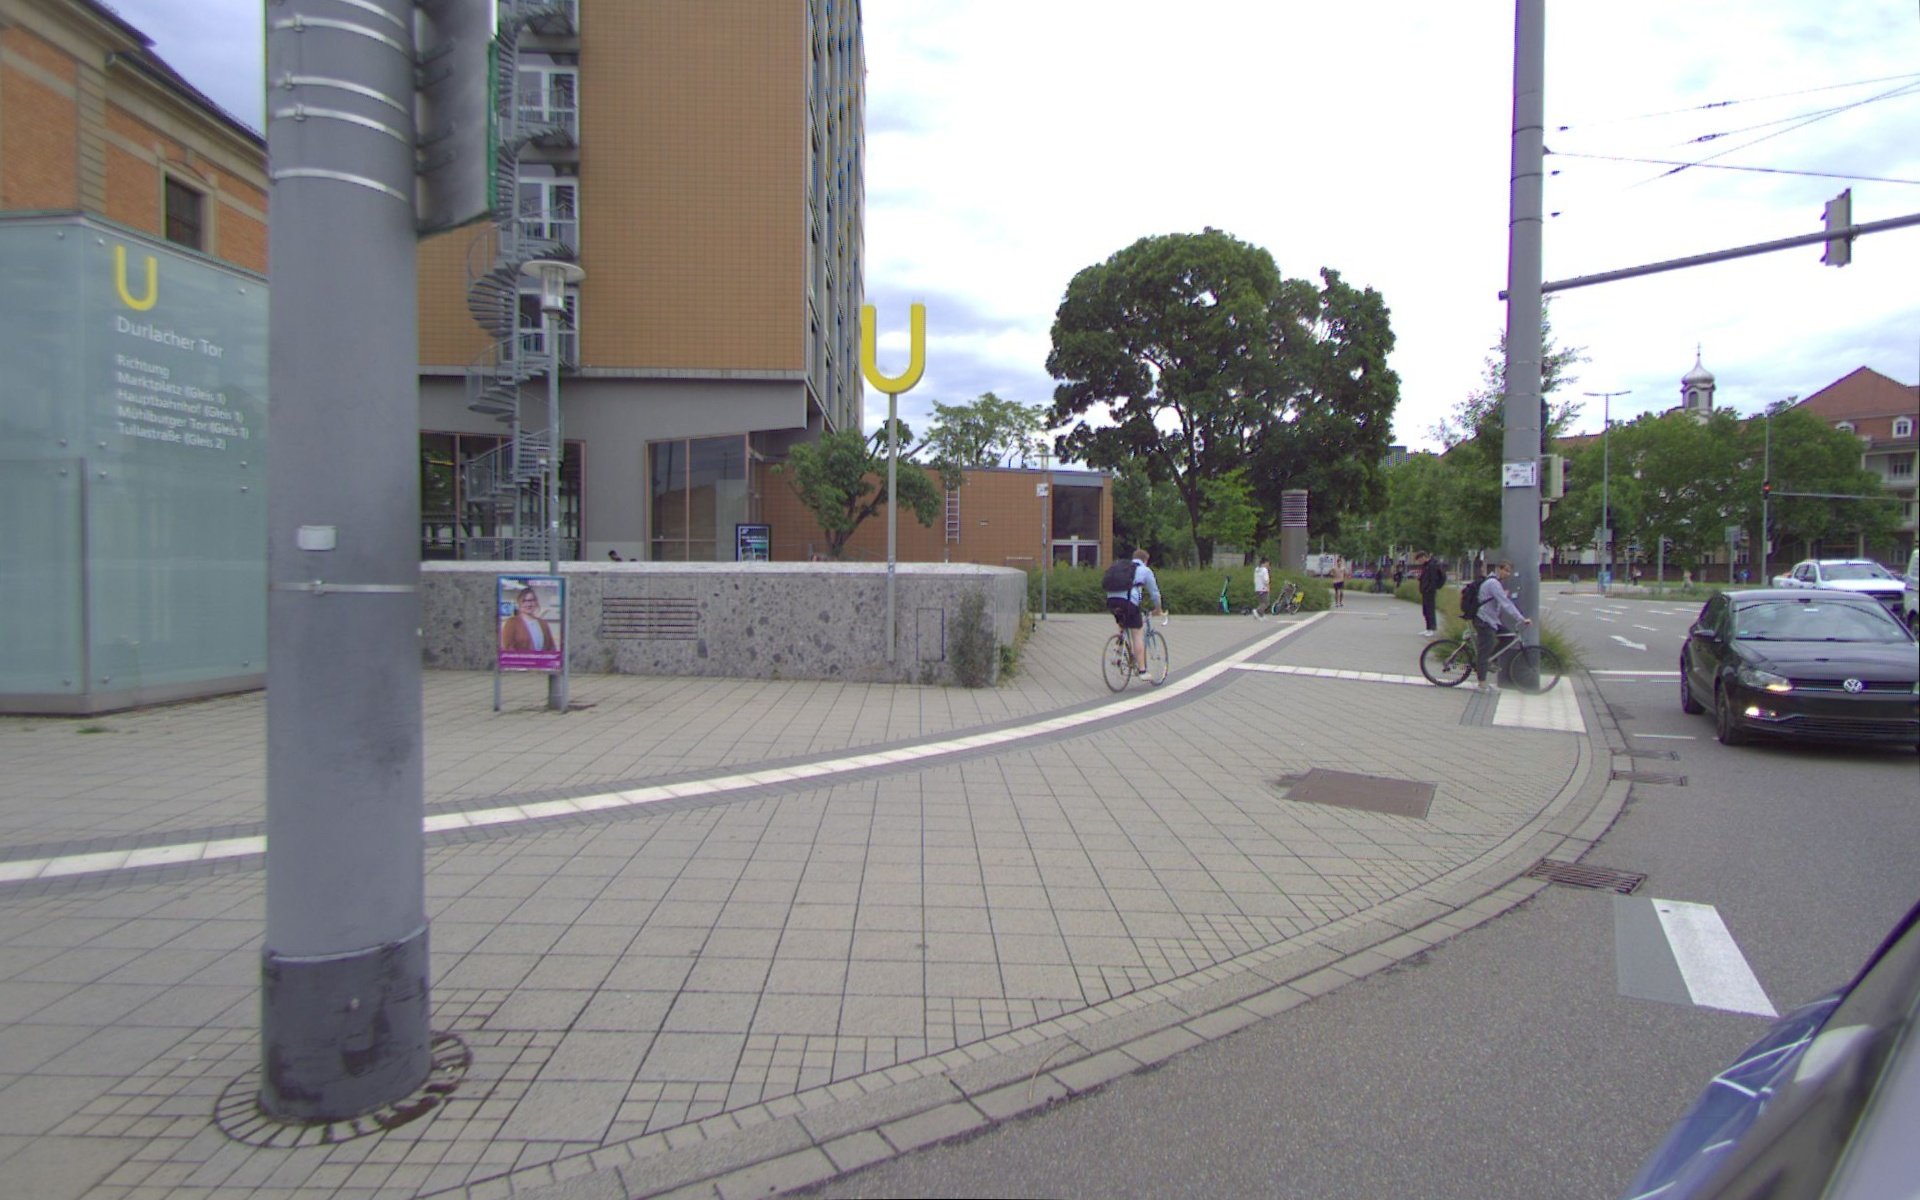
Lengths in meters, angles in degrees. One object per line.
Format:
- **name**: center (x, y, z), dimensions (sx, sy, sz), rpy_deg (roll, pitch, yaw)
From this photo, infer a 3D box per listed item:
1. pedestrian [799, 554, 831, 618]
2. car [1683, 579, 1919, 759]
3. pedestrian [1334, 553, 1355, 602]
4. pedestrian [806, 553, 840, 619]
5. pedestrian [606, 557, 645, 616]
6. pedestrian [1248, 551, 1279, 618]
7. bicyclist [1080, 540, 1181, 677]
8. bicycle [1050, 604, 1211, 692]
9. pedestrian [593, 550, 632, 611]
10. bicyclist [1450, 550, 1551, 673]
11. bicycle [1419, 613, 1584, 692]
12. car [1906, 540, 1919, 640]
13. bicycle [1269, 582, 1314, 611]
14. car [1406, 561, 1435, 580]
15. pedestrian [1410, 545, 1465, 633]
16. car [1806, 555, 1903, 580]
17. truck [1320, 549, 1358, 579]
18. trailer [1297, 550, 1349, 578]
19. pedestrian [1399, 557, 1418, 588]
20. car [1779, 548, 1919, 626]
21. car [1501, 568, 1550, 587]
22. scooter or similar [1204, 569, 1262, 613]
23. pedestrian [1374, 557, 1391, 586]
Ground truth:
- **pedestrian**: center (-4.037, -0.393, 28.165), dimensions (0.856, 1.764, 0.726), rpy_deg (0, 1, -11)
- **car**: center (8.518, 0.532, 10.216), dimensions (1.643, 1.430, 3.957), rpy_deg (1, 2, 31)
- **pedestrian**: center (14.776, -0.875, 38.876), dimensions (0.624, 1.822, 0.593), rpy_deg (4, 3, 24)
- **pedestrian**: center (-3.713, -0.382, 27.374), dimensions (0.856, 1.752, 0.726), rpy_deg (0, 1, -11)
- **pedestrian**: center (-9.457, -0.395, 28.635), dimensions (0.858, 1.651, 0.724), rpy_deg (0, 1, 4)
- **pedestrian**: center (8.462, -0.443, 28.234), dimensions (0.692, 1.827, 0.837), rpy_deg (0, 1, 8)
- **bicyclist**: center (2.037, 0.088, 12.150), dimensions (0.907, 1.579, 0.694), rpy_deg (1, 2, -28)
- **bicycle**: center (2.056, 0.557, 12.172), dimensions (1.821, 0.944, 0.674), rpy_deg (1, 3, -27)
- **pedestrian**: center (-10.124, -0.582, 29.475), dimensions (0.858, 1.758, 0.724), rpy_deg (0, 1, 4)
- **bicyclist**: center (7.054, 0.124, 13.269), dimensions (1.089, 1.539, 0.754), rpy_deg (1, 1, 24)
- **bicycle**: center (7.036, 0.662, 13.265), dimensions (1.806, 0.850, 0.761), rpy_deg (3, 2, 24)
- **car**: center (19.181, -0.137, 18.066), dimensions (1.979, 1.966, 4.487), rpy_deg (1, 2, 25)
- **bicycle**: center (10.490, -0.127, 32.005), dimensions (0.556, 0.859, 2.042), rpy_deg (1, 2, 42)
- **car**: center (51.733, -3.323, 113.804), dimensions (1.967, 2.038, 3.977), rpy_deg (-1, 1, 9)
- **pedestrian**: center (10.769, -0.264, 22.857), dimensions (0.856, 1.952, 0.725), rpy_deg (0, 1, -6)
- **car**: center (64.816, -2.351, 73.363), dimensions (5.147, 1.738, 1.912), rpy_deg (0, 1, 3)
- **truck**: center (54.386, -5.165, 145.512), dimensions (2.859, 4.075, 7.160), rpy_deg (-1, 1, 1)
- **trailer**: center (54.509, -5.328, 152.436), dimensions (2.893, 4.063, 13.809), rpy_deg (-1, 1, 1)
- **pedestrian**: center (27.100, -1.641, 61.148), dimensions (0.706, 1.822, 0.599), rpy_deg (2, 3, -19)
- **car**: center (23.586, -0.380, 26.636), dimensions (2.069, 1.871, 4.711), rpy_deg (1, 2, 25)
- **car**: center (52.599, -2.102, 94.258), dimensions (1.960, 1.749, 4.006), rpy_deg (-1, 1, -7)
- **scooter or similar**: center (8.458, -0.277, 31.381), dimensions (1.573, 1.306, 0.695), rpy_deg (-1, 1, -4)
- **pedestrian**: center (27.361, -1.825, 65.518), dimensions (0.706, 1.822, 0.599), rpy_deg (2, 3, -19)
